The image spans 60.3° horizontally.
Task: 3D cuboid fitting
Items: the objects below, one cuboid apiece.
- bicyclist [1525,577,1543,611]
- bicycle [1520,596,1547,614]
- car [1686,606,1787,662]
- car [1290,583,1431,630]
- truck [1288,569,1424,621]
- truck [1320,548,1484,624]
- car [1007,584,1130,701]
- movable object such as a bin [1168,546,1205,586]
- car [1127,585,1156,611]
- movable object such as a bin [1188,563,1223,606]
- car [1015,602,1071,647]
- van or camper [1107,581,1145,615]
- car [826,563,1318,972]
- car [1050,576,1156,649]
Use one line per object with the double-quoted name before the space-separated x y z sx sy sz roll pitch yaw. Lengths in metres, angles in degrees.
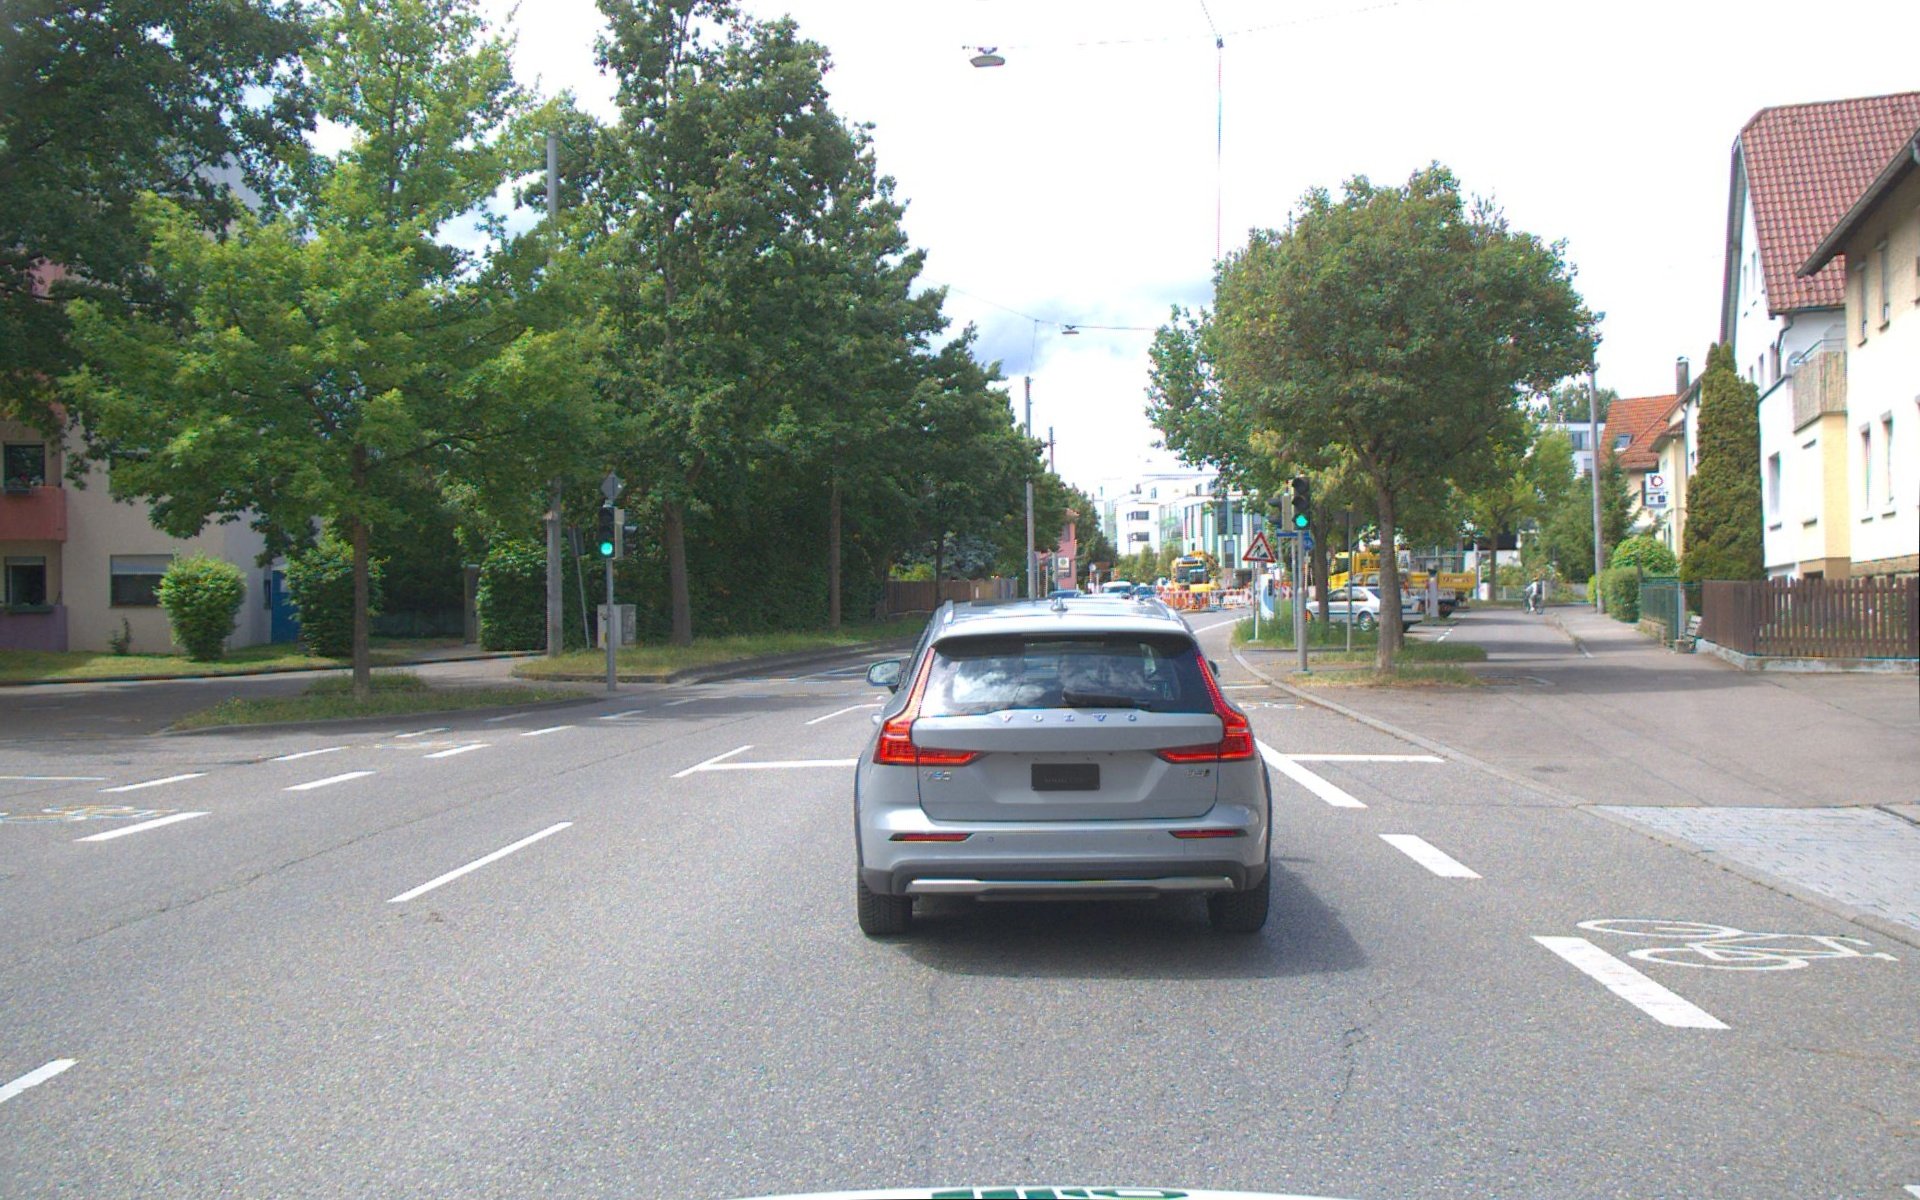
"bicyclist" 26.695 -0.271 76.939 0.577 1.586 0.566 1 -1 -2
"bicycle" 26.677 0.238 76.957 0.582 0.826 1.753 1 0 -1
"car" 17.422 0.752 37.238 1.431 1.144 3.874 1 -1 16
"car" 13.082 0.181 54.246 1.745 1.477 4.637 -1 1 -32
"truck" 16.466 -0.219 69.043 1.977 2.049 5.607 2 -1 -35
"truck" 18.812 -0.568 70.796 2.737 3.061 6.626 2 -1 -34
"car" 1.535 0.597 24.327 1.627 1.534 3.703 2 -1 2
"movable object such as a bin" 18.145 -2.718 132.642 2.262 3.042 6.429 -2 0 3
"car" 12.877 -0.135 117.155 1.951 1.768 4.003 1 -1 8
"movable object such as a bin" 16.237 -1.030 109.294 1.991 2.689 5.945 -2 0 11
"car" 3.220 0.939 63.764 1.858 1.607 4.003 -2 -1 6
"van or camper" 9.229 -0.123 91.860 1.821 1.807 4.384 -1 0 9
"car" 0.489 0.661 8.404 1.888 1.567 4.001 -1 0 2
"car" 3.337 0.293 37.922 2.057 1.536 4.003 1 -1 10
